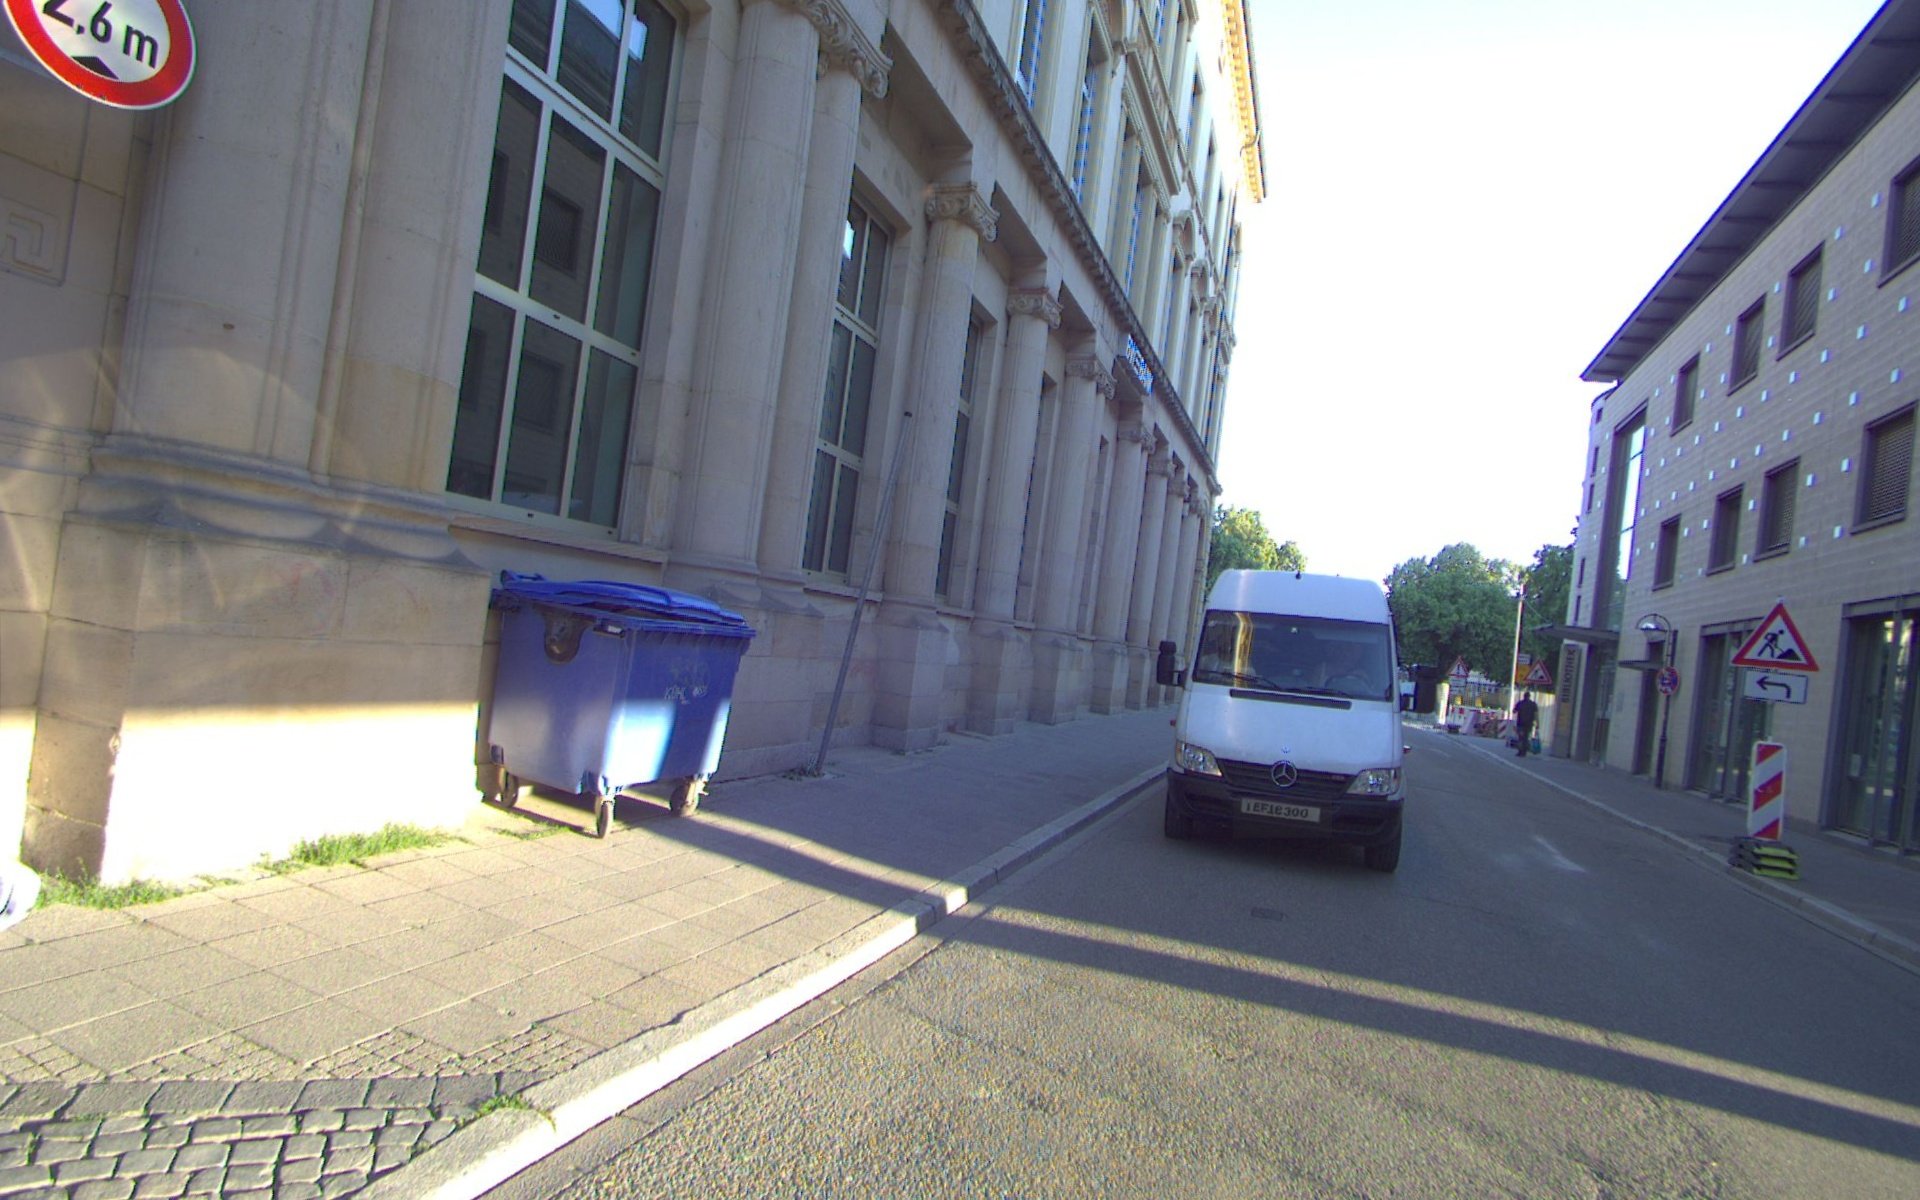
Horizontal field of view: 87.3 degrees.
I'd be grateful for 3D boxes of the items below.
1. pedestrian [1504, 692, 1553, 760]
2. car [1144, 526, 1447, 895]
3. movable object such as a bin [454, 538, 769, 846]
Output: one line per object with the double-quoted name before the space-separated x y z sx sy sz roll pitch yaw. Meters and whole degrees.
"pedestrian" 15.761 3.469 27.923 0.909 1.722 0.868 6 -1 22
"car" 3.381 0.966 10.502 1.964 2.541 6.475 4 -2 17
"movable object such as a bin" -2.015 0.511 5.965 1.058 1.492 1.187 9 0 24
